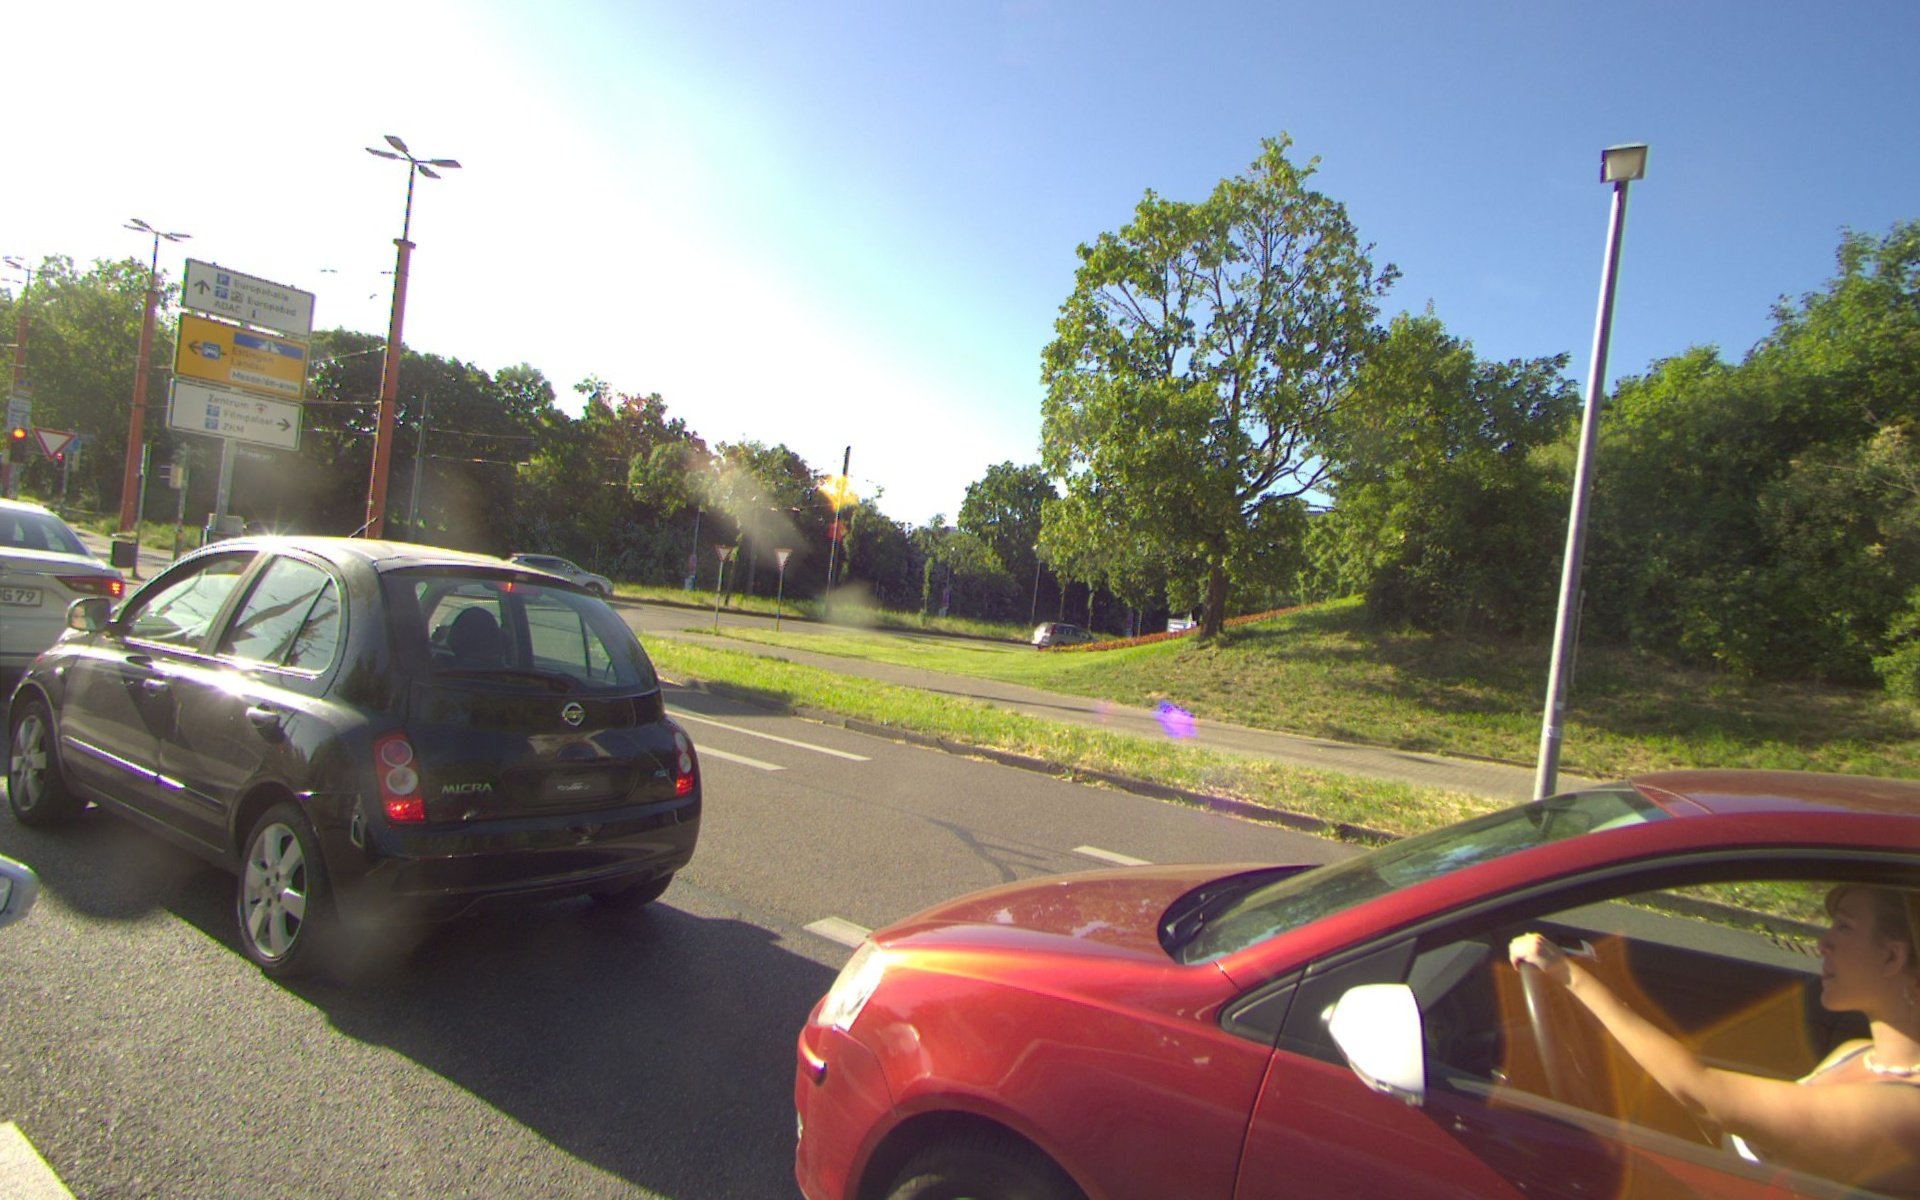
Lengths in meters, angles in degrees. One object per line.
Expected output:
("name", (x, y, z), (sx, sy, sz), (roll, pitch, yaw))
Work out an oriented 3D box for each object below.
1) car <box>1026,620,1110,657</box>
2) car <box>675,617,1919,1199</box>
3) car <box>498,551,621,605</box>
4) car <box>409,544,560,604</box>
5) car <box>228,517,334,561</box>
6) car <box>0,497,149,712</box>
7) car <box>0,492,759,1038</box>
("car", (5.395, 1.934, 50.147), (3.817, 1.371, 1.709), (8, -1, -31))
("car", (1.373, 0.991, 1.894), (3.634, 1.434, 1.624), (7, -1, 34))
("car", (-16.179, -0.873, 40.702), (4.318, 1.600, 1.758), (8, -1, -30))
("car", (-17.199, -0.915, 36.464), (4.718, 1.512, 1.758), (8, -1, -30))
("car", (-35.466, -3.166, 52.709), (4.423, 1.615, 1.983), (8, -1, -32))
("car", (-8.344, -0.162, 7.978), (4.077, 1.472, 1.717), (7, -1, 33))
("car", (-2.819, 0.465, 4.625), (3.457, 1.524, 1.558), (7, 0, 32))
